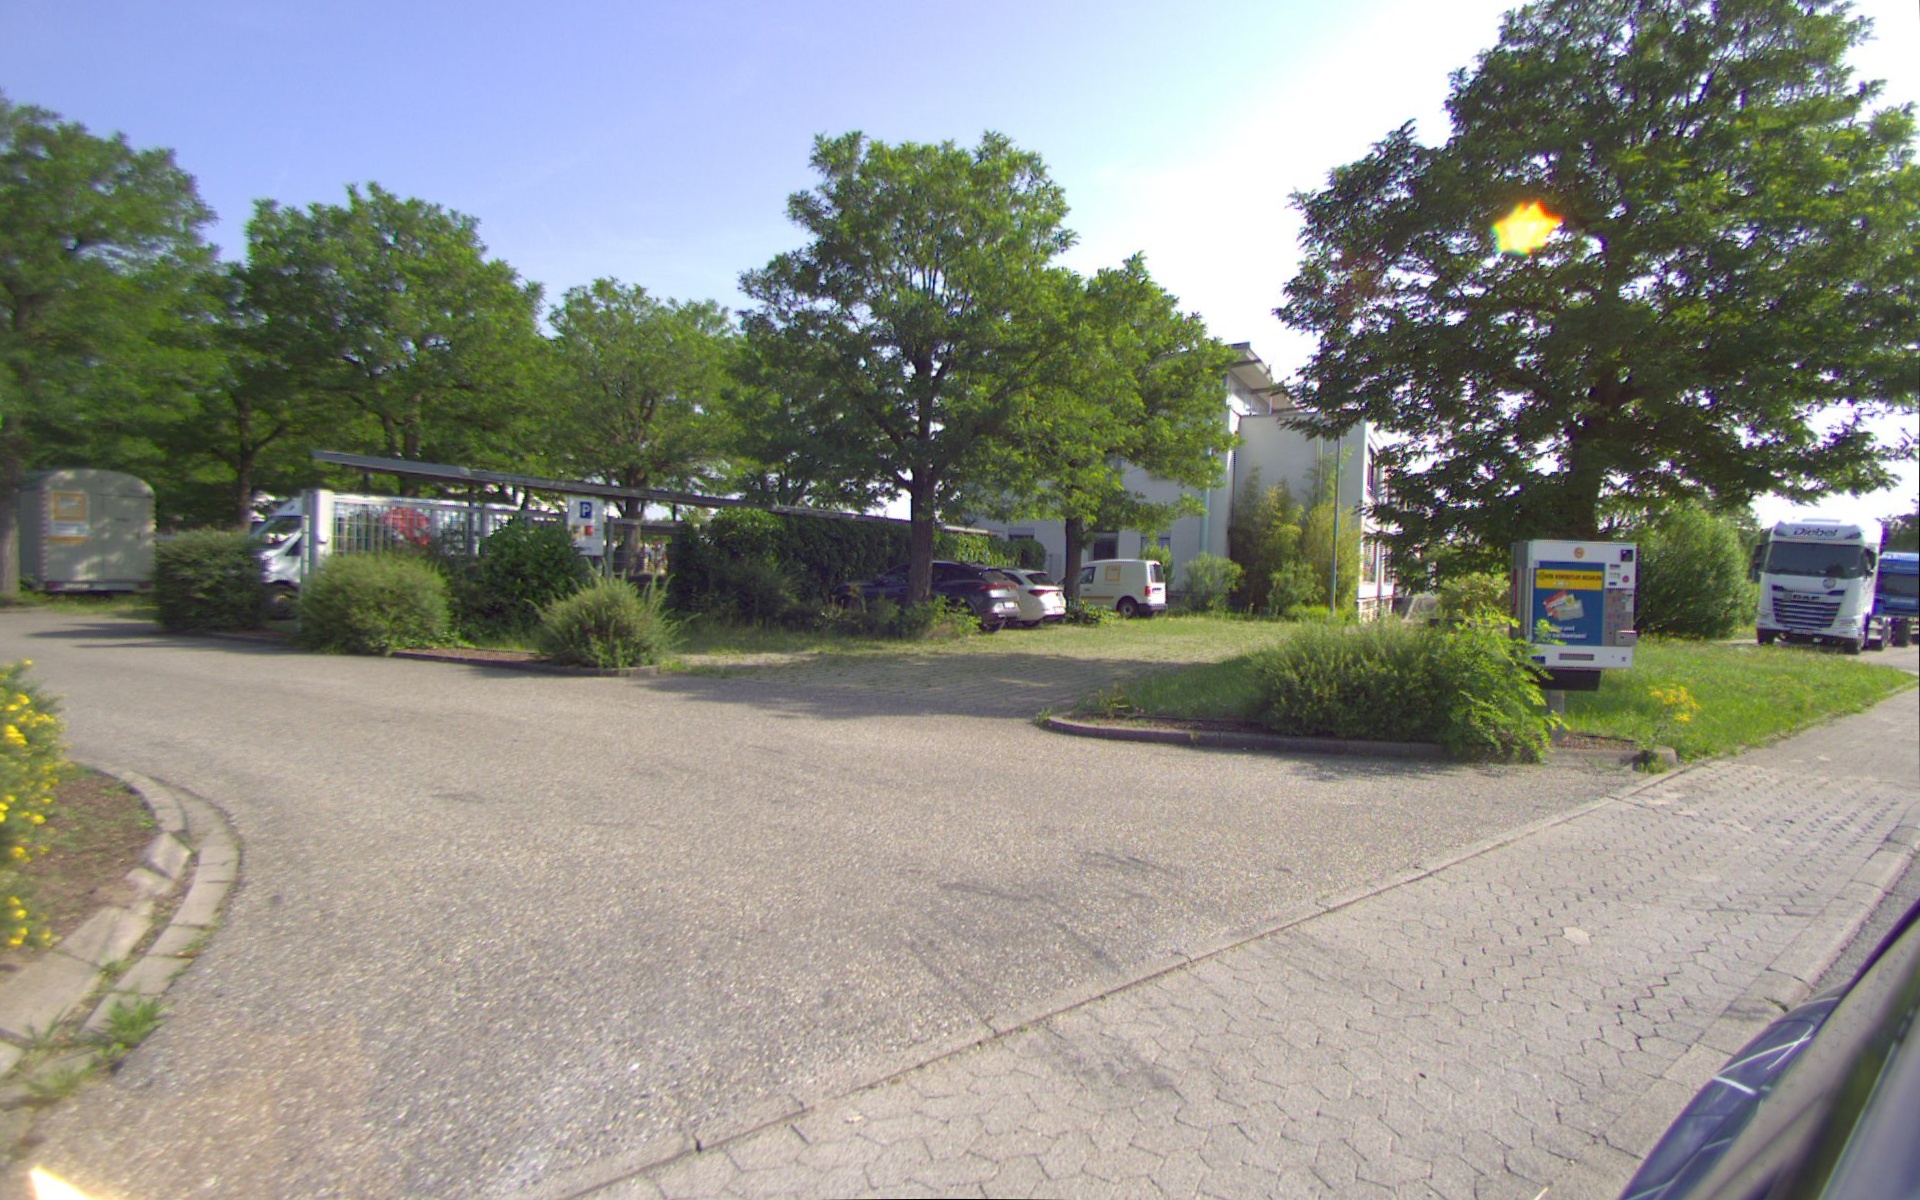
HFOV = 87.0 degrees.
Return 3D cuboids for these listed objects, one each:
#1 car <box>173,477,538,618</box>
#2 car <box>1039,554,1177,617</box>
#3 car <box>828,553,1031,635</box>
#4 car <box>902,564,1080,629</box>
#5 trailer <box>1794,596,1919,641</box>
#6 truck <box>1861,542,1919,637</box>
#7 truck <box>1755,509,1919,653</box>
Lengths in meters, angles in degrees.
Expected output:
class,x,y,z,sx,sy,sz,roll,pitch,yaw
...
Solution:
class,x,y,z,sx,sy,sz,roll,pitch,yaw
car,-12.992,-1.108,22.492,2.201,2.640,6.826,3,3,28
car,4.620,-0.481,31.780,3.883,1.772,1.734,3,2,32
car,-0.684,-0.177,21.747,4.008,1.481,1.781,4,2,30
car,0.731,-0.132,24.597,4.007,1.423,1.724,2,2,30
trailer,33.856,0.601,37.306,13.888,1.409,2.551,0,0,-41
truck,44.337,-0.416,46.549,10.395,3.988,3.042,1,2,-42
truck,28.076,-0.601,32.219,8.431,4.029,2.559,0,4,-41
